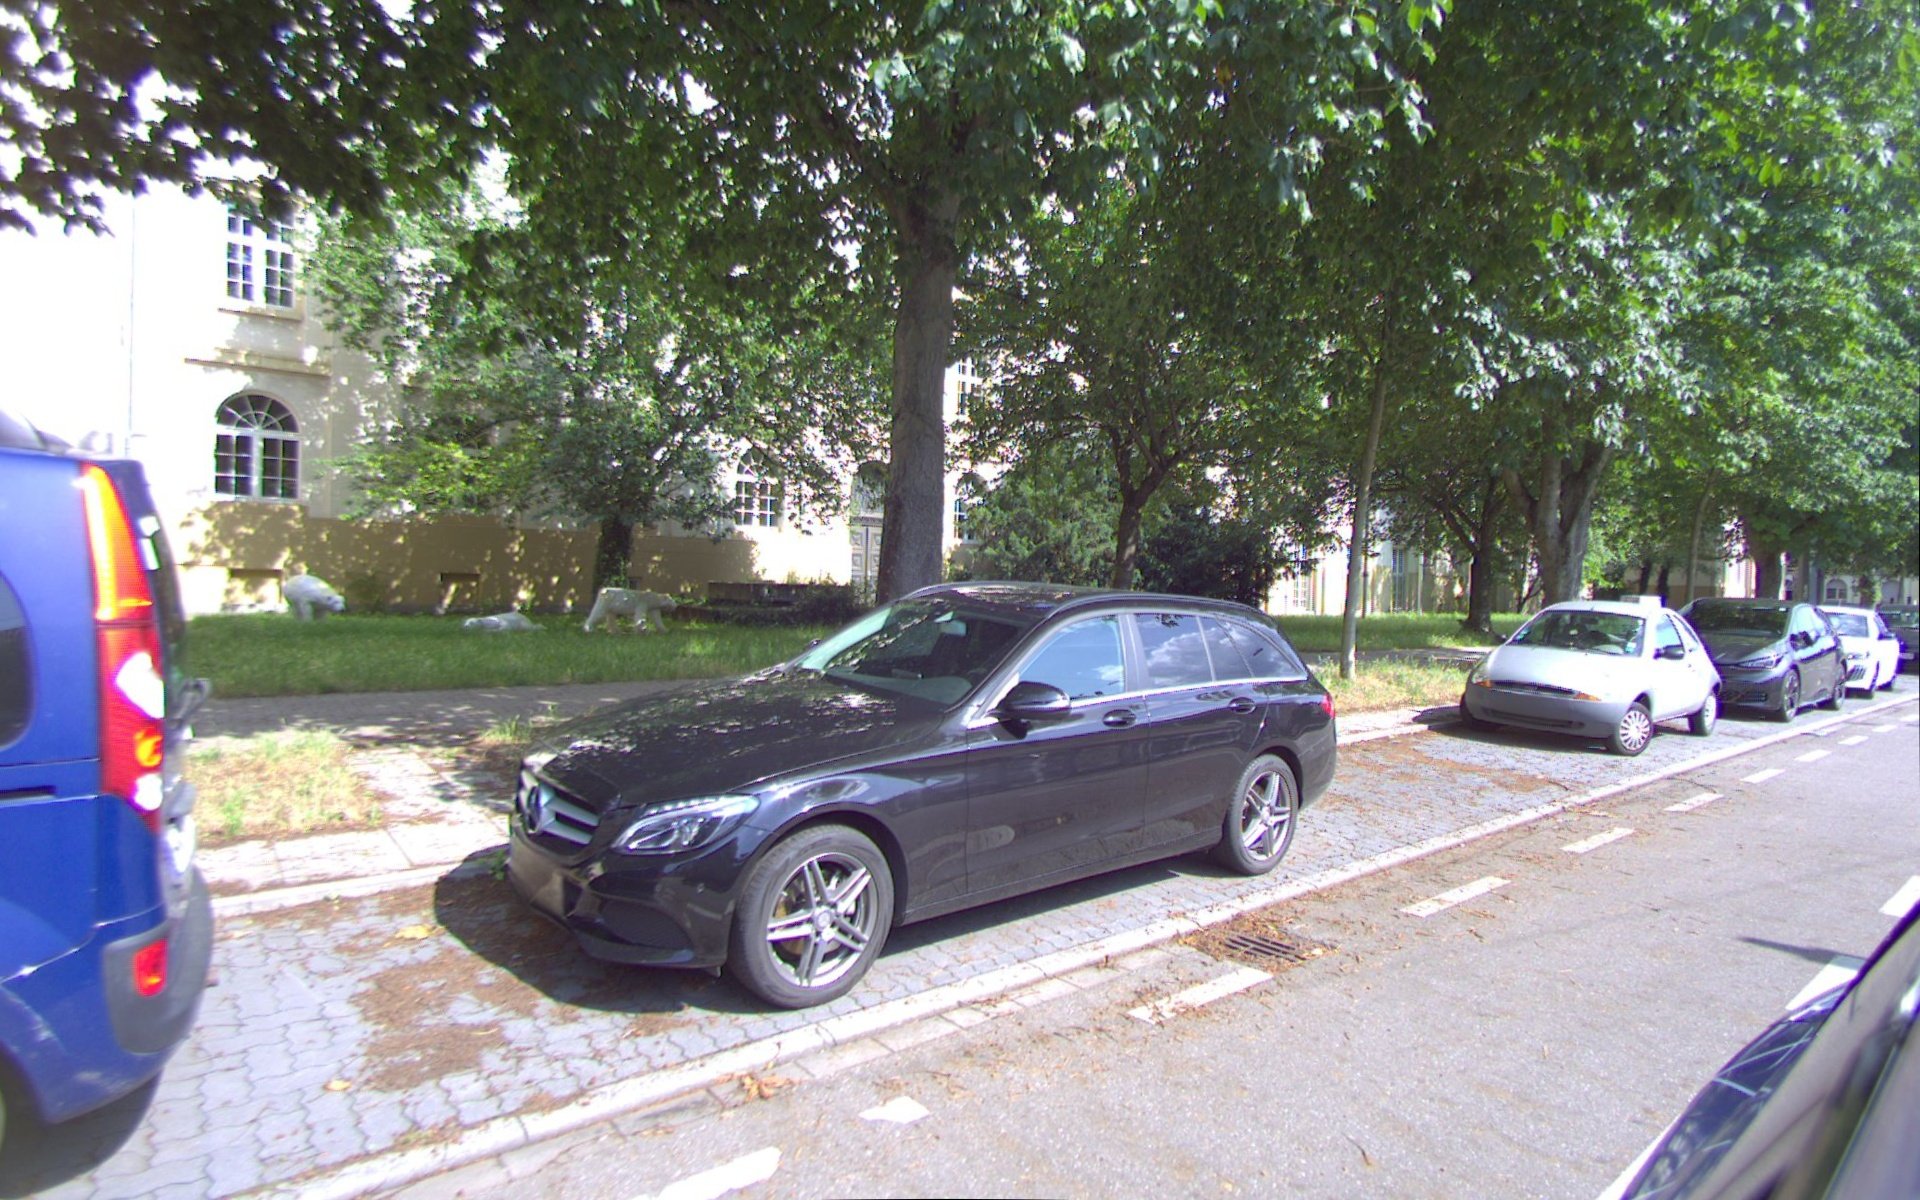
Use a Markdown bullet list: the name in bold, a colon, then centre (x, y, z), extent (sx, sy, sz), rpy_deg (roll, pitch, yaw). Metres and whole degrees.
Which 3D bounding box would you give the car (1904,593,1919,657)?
- **car**: centre (26.073, 0.700, 26.247), extent (4.230, 1.580, 1.696), rpy_deg (0, 4, -39)

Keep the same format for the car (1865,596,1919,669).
- **car**: centre (22.039, 0.730, 23.123), extent (3.497, 1.478, 1.559), rpy_deg (-1, 6, -42)

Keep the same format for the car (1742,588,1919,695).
- **car**: centre (15.366, 0.631, 17.730), extent (4.180, 1.542, 1.839), rpy_deg (0, 4, -42)

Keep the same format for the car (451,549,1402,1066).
- **car**: centre (0.190, 0.600, 5.241), extent (4.711, 1.459, 1.922), rpy_deg (1, 4, -41)

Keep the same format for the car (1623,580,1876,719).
- **car**: centre (11.157, 0.593, 14.189), extent (4.592, 1.602, 1.730), rpy_deg (1, 3, -39)

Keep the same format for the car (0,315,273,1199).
- **car**: centre (-3.684, 0.345, 1.663), extent (4.106, 1.919, 1.828), rpy_deg (1, 2, -38)

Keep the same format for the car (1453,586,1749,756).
- **car**: centre (6.974, 0.635, 10.911), extent (3.533, 1.462, 1.595), rpy_deg (0, 3, -39)

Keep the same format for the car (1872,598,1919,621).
- **car**: centre (74.388, 0.751, 78.636), extent (1.820, 1.676, 4.843), rpy_deg (-1, 2, -29)
